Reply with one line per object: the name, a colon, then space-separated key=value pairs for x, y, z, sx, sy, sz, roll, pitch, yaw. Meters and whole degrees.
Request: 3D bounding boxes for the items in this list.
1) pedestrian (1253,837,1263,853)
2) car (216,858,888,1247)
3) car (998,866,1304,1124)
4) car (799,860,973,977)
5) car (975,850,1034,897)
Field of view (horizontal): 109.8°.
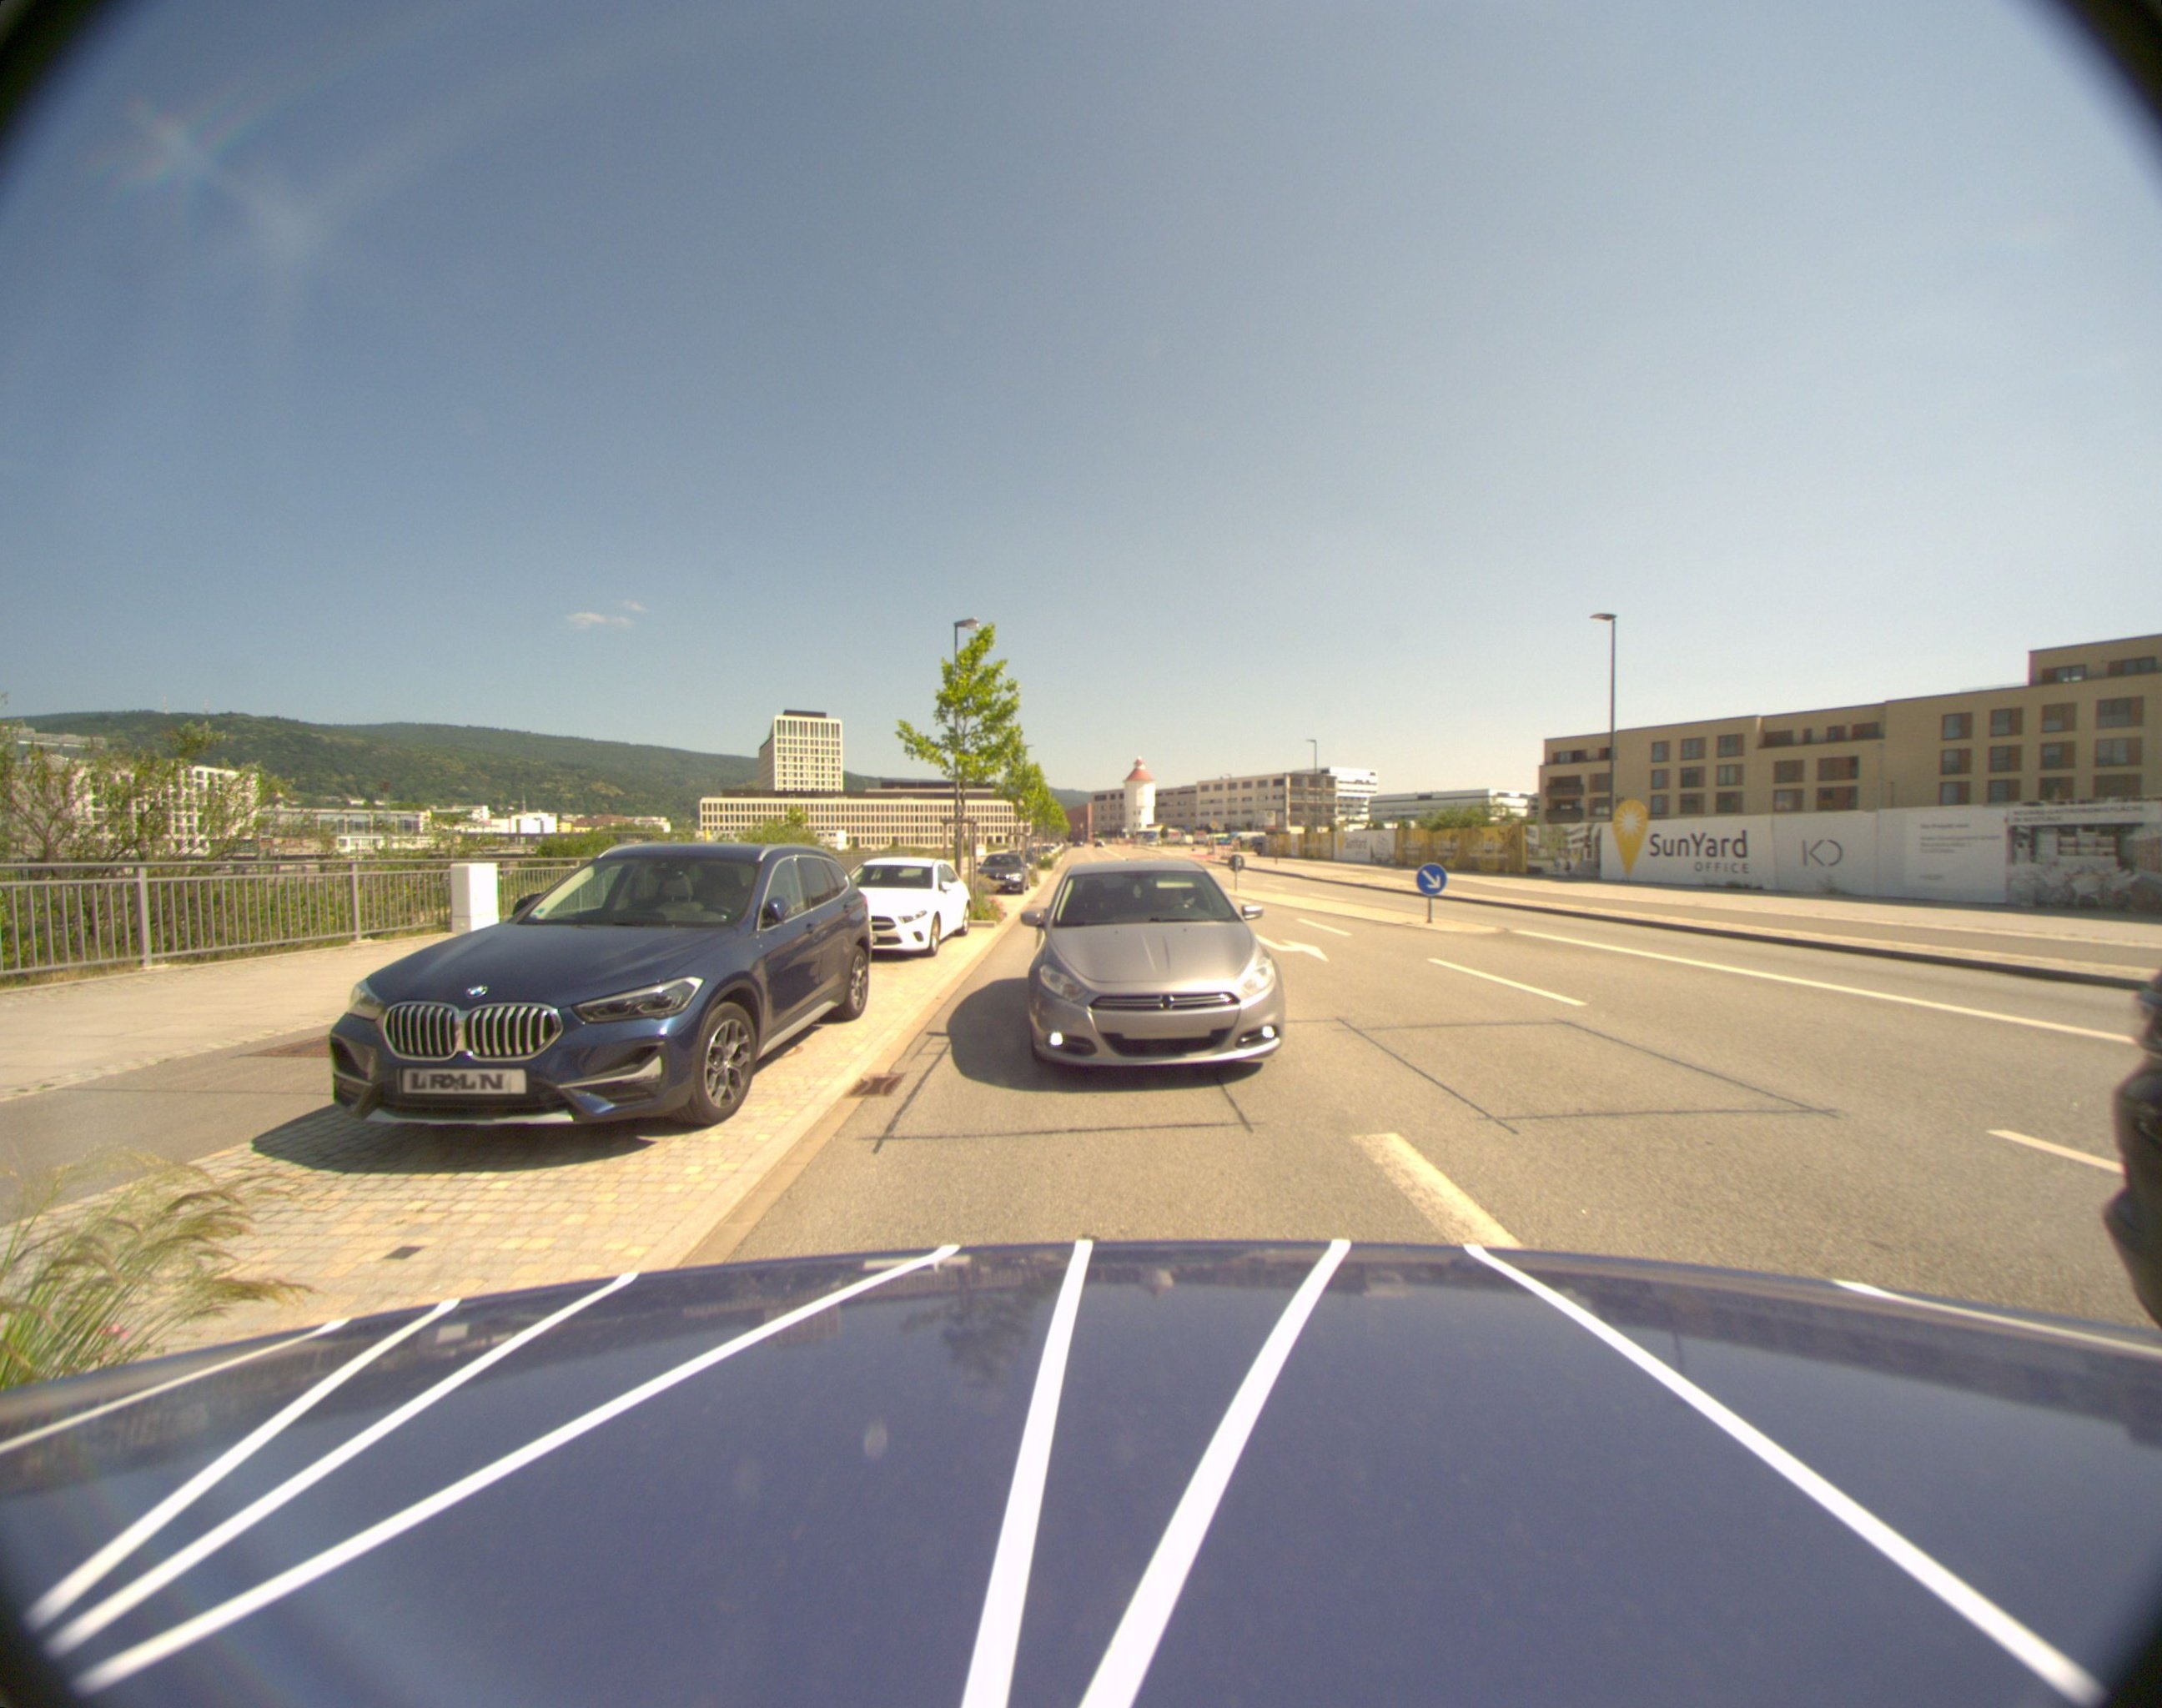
pedestrian: x=18.162 y=-0.948 z=78.080 sx=0.705 sy=1.577 sz=0.617 roll=-3 pitch=1 yaw=-36
car: x=-2.875 y=0.895 z=5.480 sx=1.769 sy=1.598 sz=4.238 roll=-2 pitch=1 yaw=1
car: x=0.450 y=0.884 z=6.629 sx=1.784 sy=1.372 sz=4.135 roll=-2 pitch=1 yaw=1
car: x=-2.921 y=0.884 z=12.253 sx=1.664 sy=1.447 sz=3.999 roll=-2 pitch=1 yaw=1
car: x=-2.744 y=0.662 z=28.086 sx=1.664 sy=1.529 sz=3.999 roll=-2 pitch=1 yaw=1
